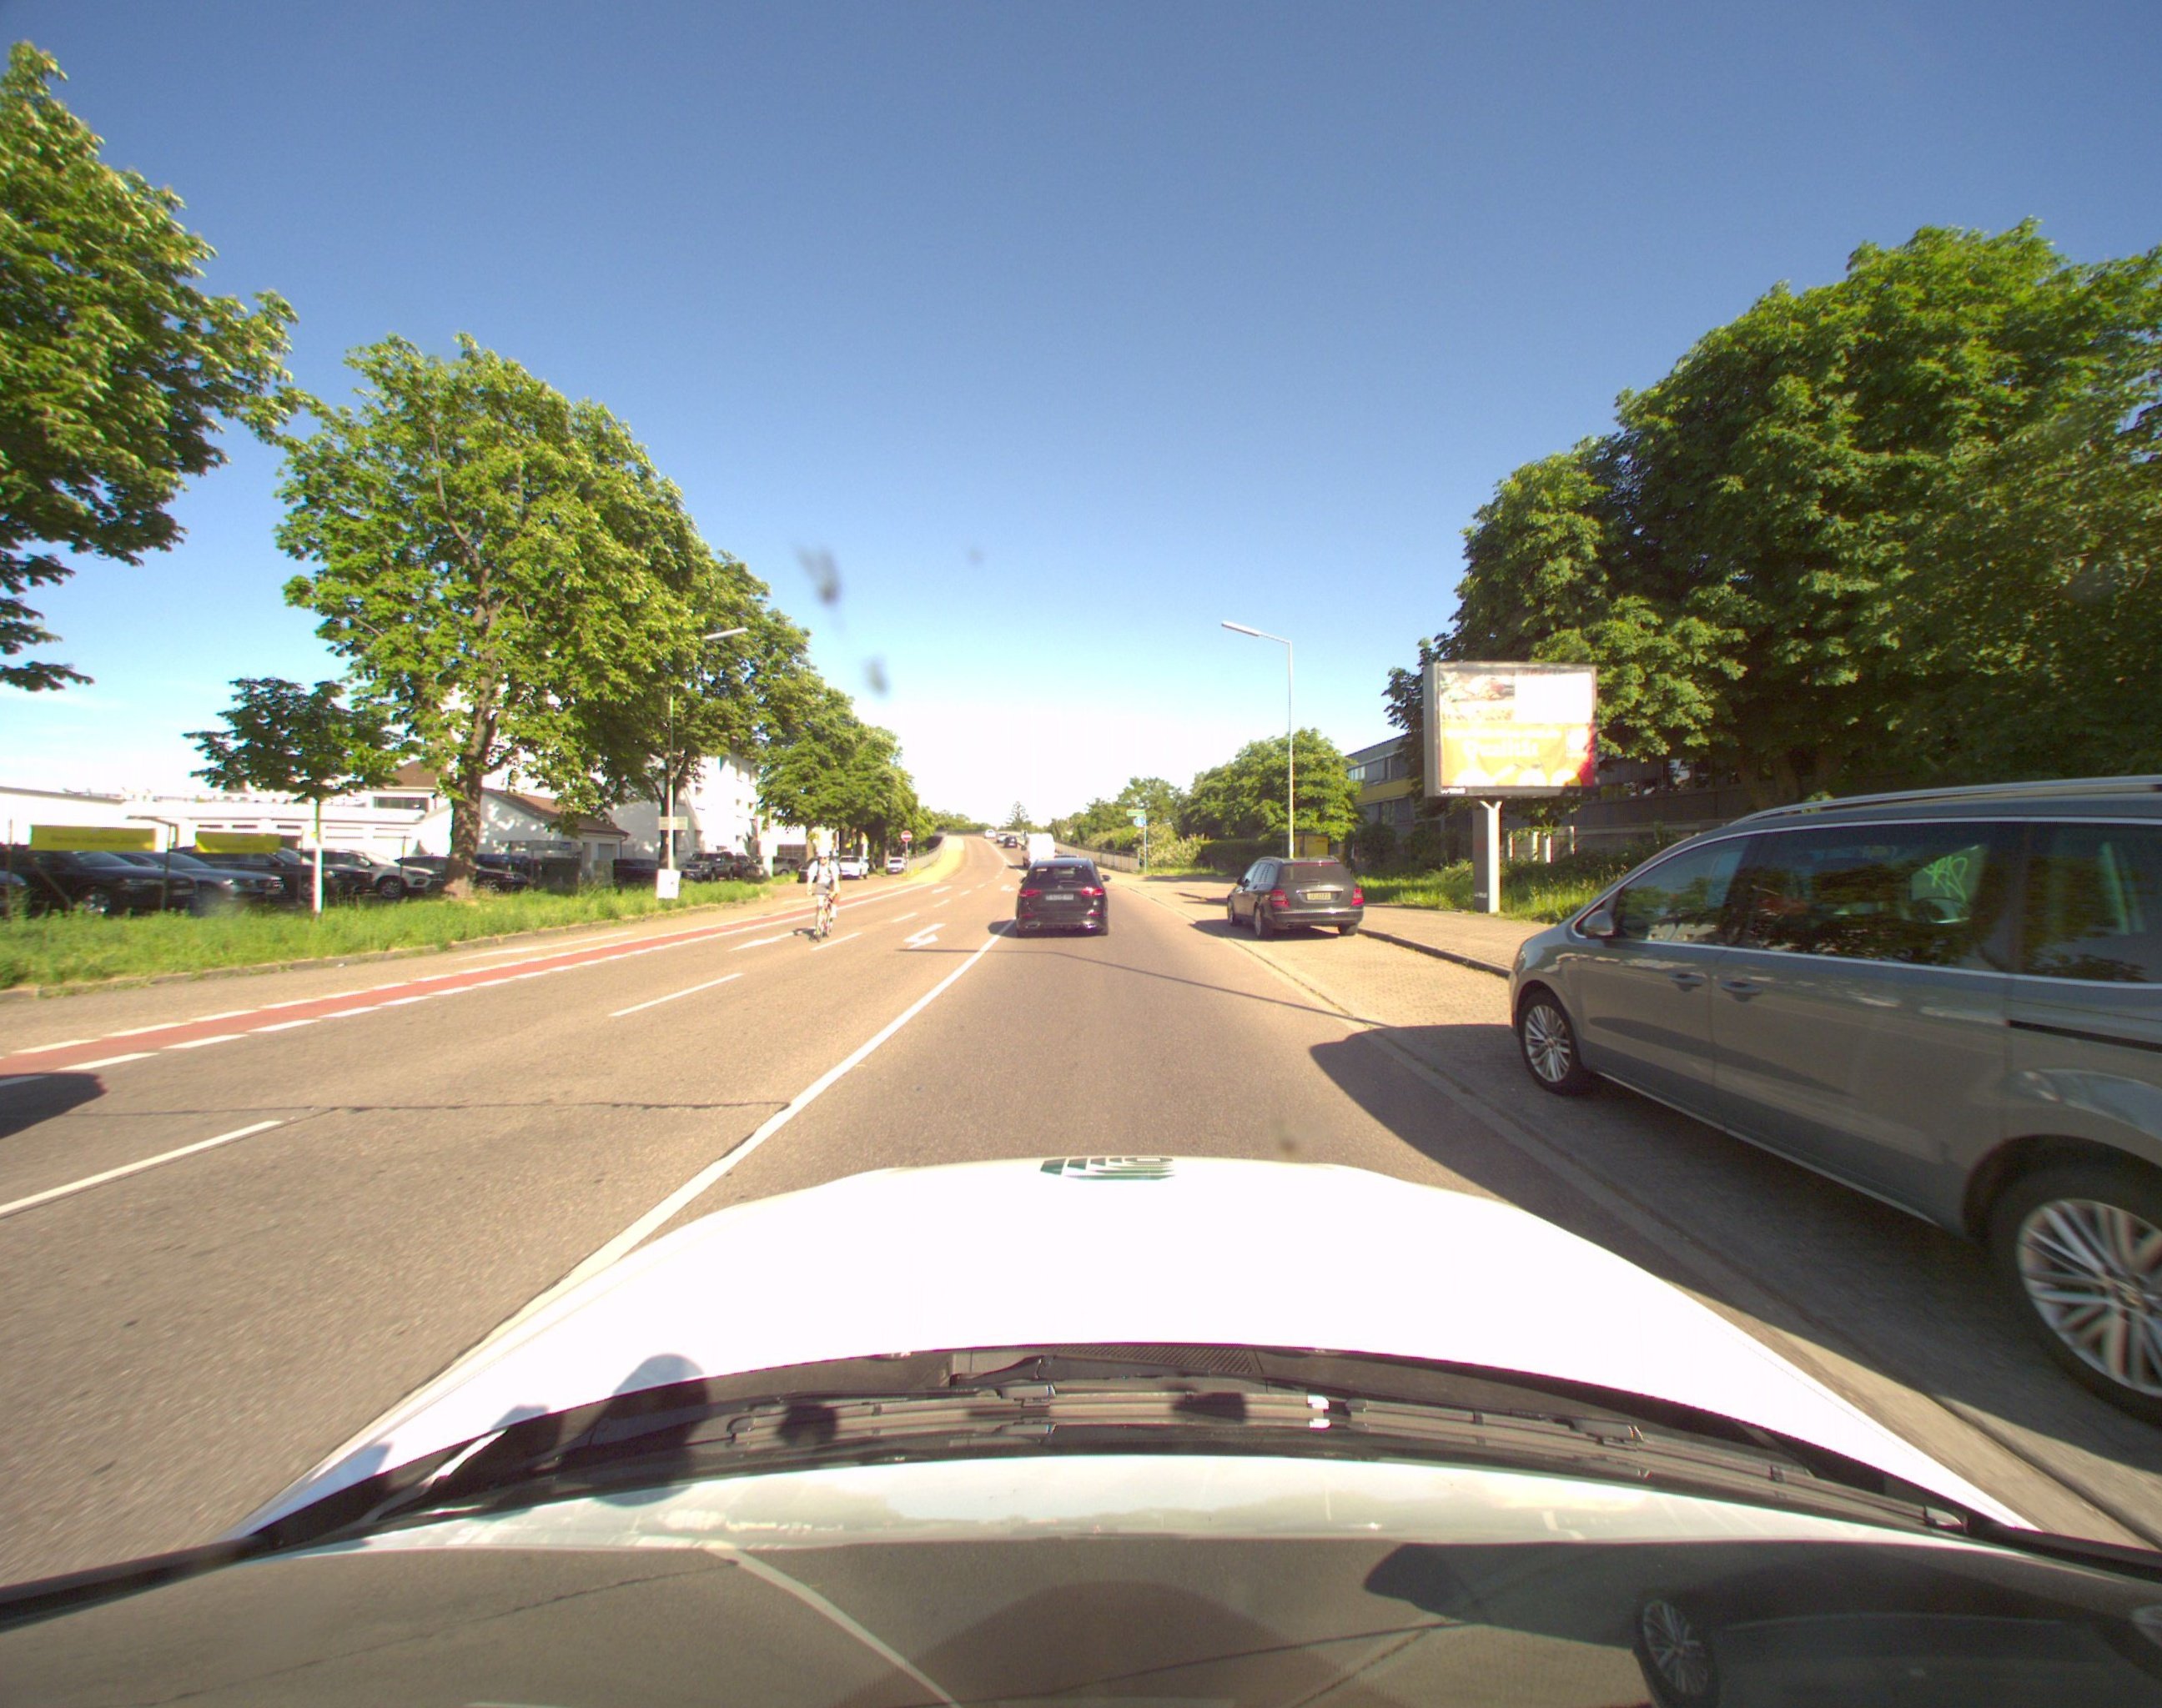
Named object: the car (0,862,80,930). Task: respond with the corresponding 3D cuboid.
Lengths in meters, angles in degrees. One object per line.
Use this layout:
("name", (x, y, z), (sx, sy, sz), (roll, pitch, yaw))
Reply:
("car", (-22.172, 0.793, 15.166), (3.935, 1.240, 2.029), (0, 0, -22))

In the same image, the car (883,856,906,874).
("car", (-21.417, 1.238, 93.613), (1.919, 1.991, 4.252), (0, 0, -4))

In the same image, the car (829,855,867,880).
("car", (-16.639, 0.920, 58.427), (2.038, 1.729, 5.218), (1, 0, -10))

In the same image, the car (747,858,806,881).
("car", (-23.277, 1.134, 62.319), (4.010, 1.597, 1.982), (-2, 1, -28))

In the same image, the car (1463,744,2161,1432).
("car", (3.672, 0.564, 3.624), (1.866, 1.722, 4.614), (-2, 0, 2))

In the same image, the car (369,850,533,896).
("car", (-22.863, 0.651, 29.792), (4.413, 1.575, 1.800), (0, 0, -23))

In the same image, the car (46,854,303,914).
("car", (-22.761, 0.703, 20.668), (3.880, 1.412, 1.934), (0, 0, -20))

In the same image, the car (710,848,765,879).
("car", (-22.398, 0.600, 53.322), (2.067, 1.930, 4.776), (0, 0, -7))

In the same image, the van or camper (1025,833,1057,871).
("van or camper", (-3.149, -0.197, 62.822), (2.223, 2.739, 7.068), (0, 0, -5))

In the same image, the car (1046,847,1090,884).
("car", (-0.557, 0.526, 37.703), (1.798, 1.640, 4.002), (0, -1, 2))

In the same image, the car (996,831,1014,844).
("car", (-11.127, -2.391, 119.024), (1.985, 1.680, 4.003), (-1, -1, 3))

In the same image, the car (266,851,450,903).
("car", (-23.306, 0.698, 26.431), (3.993, 1.610, 1.913), (0, 0, -15))

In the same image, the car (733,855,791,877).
("car", (-23.187, 0.876, 59.212), (3.683, 1.510, 1.766), (0, 0, -34))

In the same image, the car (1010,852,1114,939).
("car", (-0.269, 0.775, 17.079), (1.761, 1.592, 3.994), (0, 0, 5))

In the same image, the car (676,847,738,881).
("car", (-22.027, 0.563, 48.162), (1.744, 1.930, 5.093), (0, 0, -5))

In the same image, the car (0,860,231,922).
("car", (-22.040, 0.771, 18.032), (3.935, 1.240, 2.029), (0, 0, -22))

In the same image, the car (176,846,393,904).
("car", (-22.807, 0.562, 23.550), (4.002, 1.560, 1.986), (0, 0, -22))

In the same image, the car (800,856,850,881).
("car", (-15.741, 0.879, 50.352), (2.035, 1.464, 4.950), (0, 0, -6))

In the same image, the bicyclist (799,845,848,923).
("bicyclist", (-5.080, 0.574, 16.110), (0.771, 1.485, 0.824), (0, 0, -6))

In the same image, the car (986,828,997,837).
("car", (-16.032, -3.816, 145.723), (1.875, 1.543, 3.989), (0, 0, -8))

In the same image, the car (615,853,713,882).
("car", (-21.068, 0.669, 41.294), (3.988, 1.429, 1.901), (0, -1, -11))

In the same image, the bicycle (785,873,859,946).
("bicycle", (-5.097, 1.031, 16.259), (0.792, 1.226, 3.206), (0, 0, -6))

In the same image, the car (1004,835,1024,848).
("car", (-8.505, -1.578, 103.568), (1.911, 1.488, 4.272), (-1, -1, 2))

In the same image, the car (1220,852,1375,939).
("car", (4.008, 0.686, 15.830), (1.803, 1.419, 4.423), (-1, 0, 0))
